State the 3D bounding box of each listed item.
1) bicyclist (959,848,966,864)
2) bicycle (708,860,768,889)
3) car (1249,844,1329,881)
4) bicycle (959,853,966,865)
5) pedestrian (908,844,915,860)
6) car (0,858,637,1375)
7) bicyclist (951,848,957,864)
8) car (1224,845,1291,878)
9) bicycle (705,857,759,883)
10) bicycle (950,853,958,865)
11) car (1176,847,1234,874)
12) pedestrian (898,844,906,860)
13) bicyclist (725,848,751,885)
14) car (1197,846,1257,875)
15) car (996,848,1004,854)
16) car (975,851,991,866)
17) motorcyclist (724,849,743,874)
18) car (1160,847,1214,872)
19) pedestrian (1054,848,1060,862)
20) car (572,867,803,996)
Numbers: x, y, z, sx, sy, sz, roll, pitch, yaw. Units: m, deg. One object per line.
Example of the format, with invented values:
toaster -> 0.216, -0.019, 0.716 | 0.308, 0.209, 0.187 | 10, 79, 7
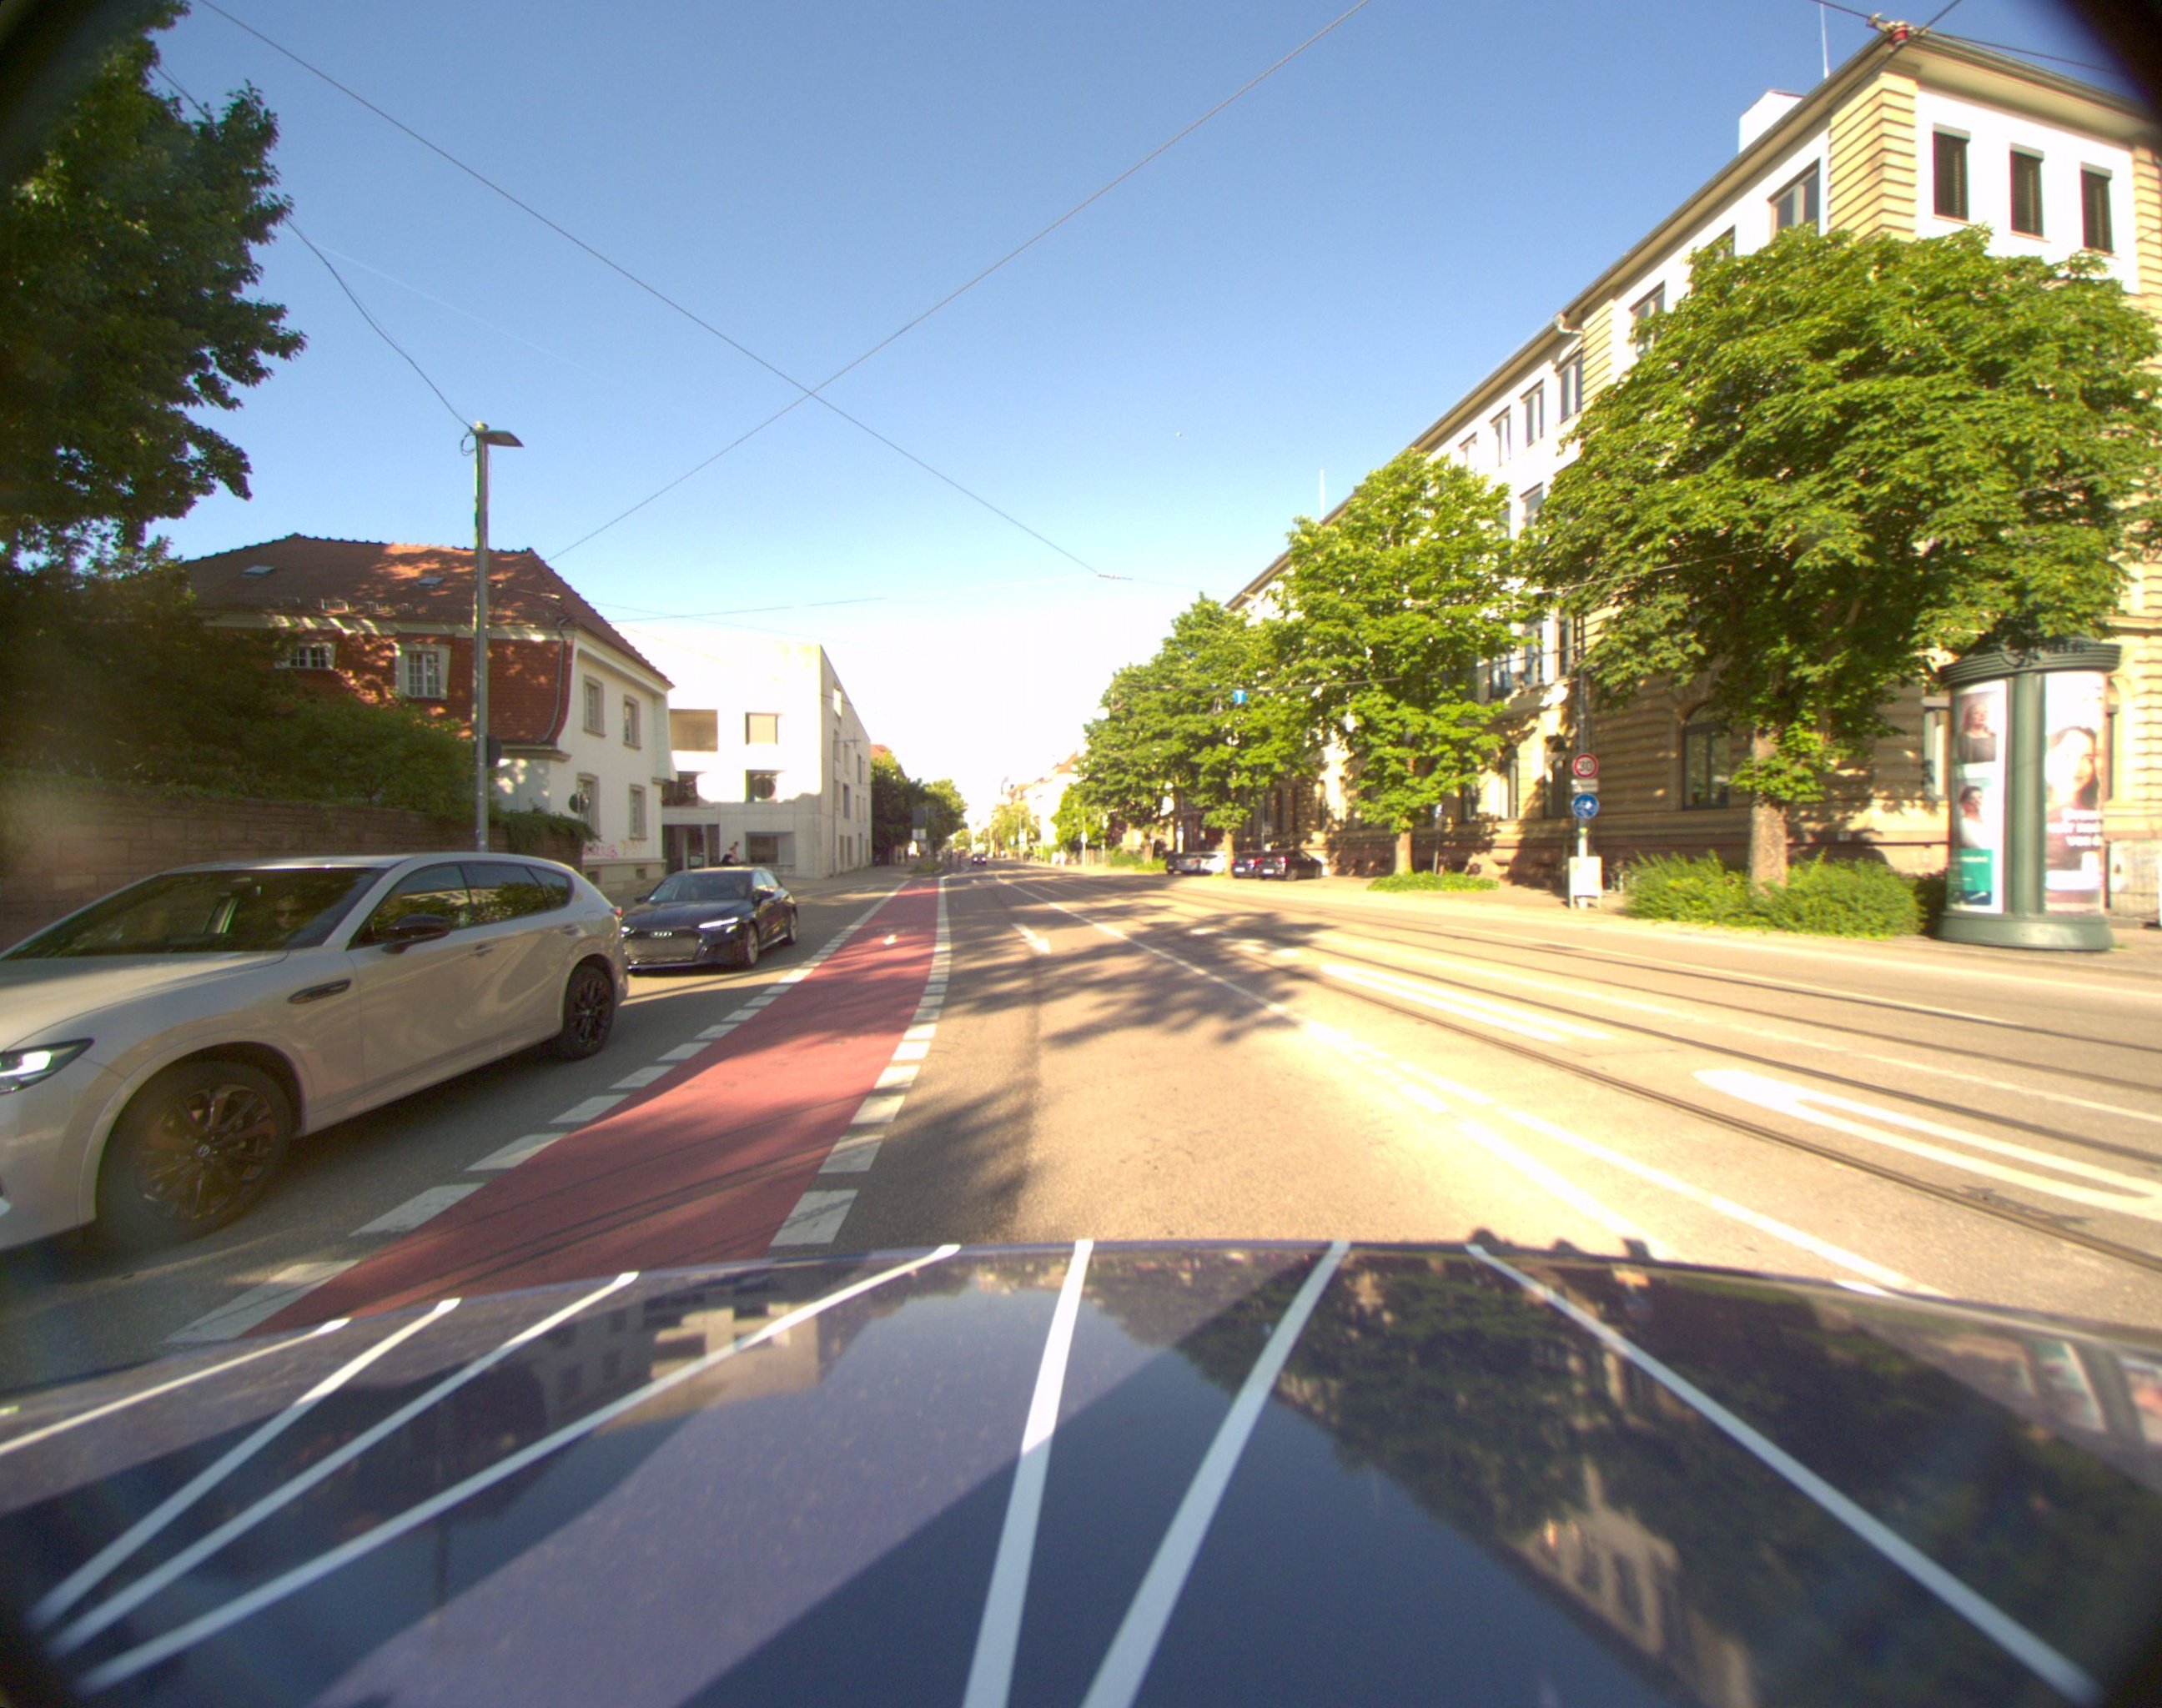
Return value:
bicyclist -> -12.344, 0.181, 79.105 | 0.676, 1.638, 1.028 | 0, 1, -8
bicycle -> -15.578, 0.900, 34.537 | 2.460, 1.243, 0.675 | 0, 1, -26
car -> 10.384, 0.402, 37.751 | 4.189, 1.621, 1.841 | -3, 1, -43
bicycle -> -12.345, 0.490, 79.110 | 0.676, 1.243, 2.454 | 0, 1, -8
pedestrian -> -17.932, -0.203, 80.348 | 0.676, 1.638, 0.817 | -1, 1, -9
car -> -4.805, 0.935, 4.470 | 1.946, 1.682, 4.529 | -2, 1, -5
bicyclist -> -13.231, 0.167, 79.152 | 0.676, 1.638, 1.028 | 0, 1, -8
car -> 9.420, 0.385, 40.411 | 3.657, 1.552, 1.645 | -3, 1, -43
bicycle -> -17.600, 0.809, 38.351 | 2.460, 1.243, 0.675 | 0, 1, -23
bicycle -> -13.239, 0.494, 79.191 | 0.676, 1.243, 2.454 | 0, 1, -8
car -> 7.912, 0.384, 48.357 | 3.657, 1.552, 1.645 | -3, 1, -43
pedestrian -> -18.884, -0.178, 80.226 | 0.676, 1.638, 0.817 | -1, 1, -9
bicyclist -> -15.580, 0.558, 34.528 | 1.030, 1.638, 0.674 | -1, 1, -26
car -> 8.891, 0.383, 46.127 | 3.657, 1.552, 1.645 | -3, 1, -43
car -> -20.269, -0.797, 189.363 | 1.650, 1.552, 3.646 | -2, 1, -12
car -> -11.449, 0.522, 88.953 | 1.649, 1.552, 3.648 | -2, 1, -5
motorcyclist -> -17.535, 0.394, 38.366 | 0.855, 1.243, 0.675 | -1, 1, -23
car -> 7.237, 0.355, 51.768 | 3.657, 1.552, 1.645 | -3, 1, -43
pedestrian -> -2.779, 0.112, 87.957 | 0.676, 1.638, 0.817 | -1, 1, -9
car -> -5.620, 0.995, 11.478 | 1.789, 1.425, 3.997 | -2, 1, -8
